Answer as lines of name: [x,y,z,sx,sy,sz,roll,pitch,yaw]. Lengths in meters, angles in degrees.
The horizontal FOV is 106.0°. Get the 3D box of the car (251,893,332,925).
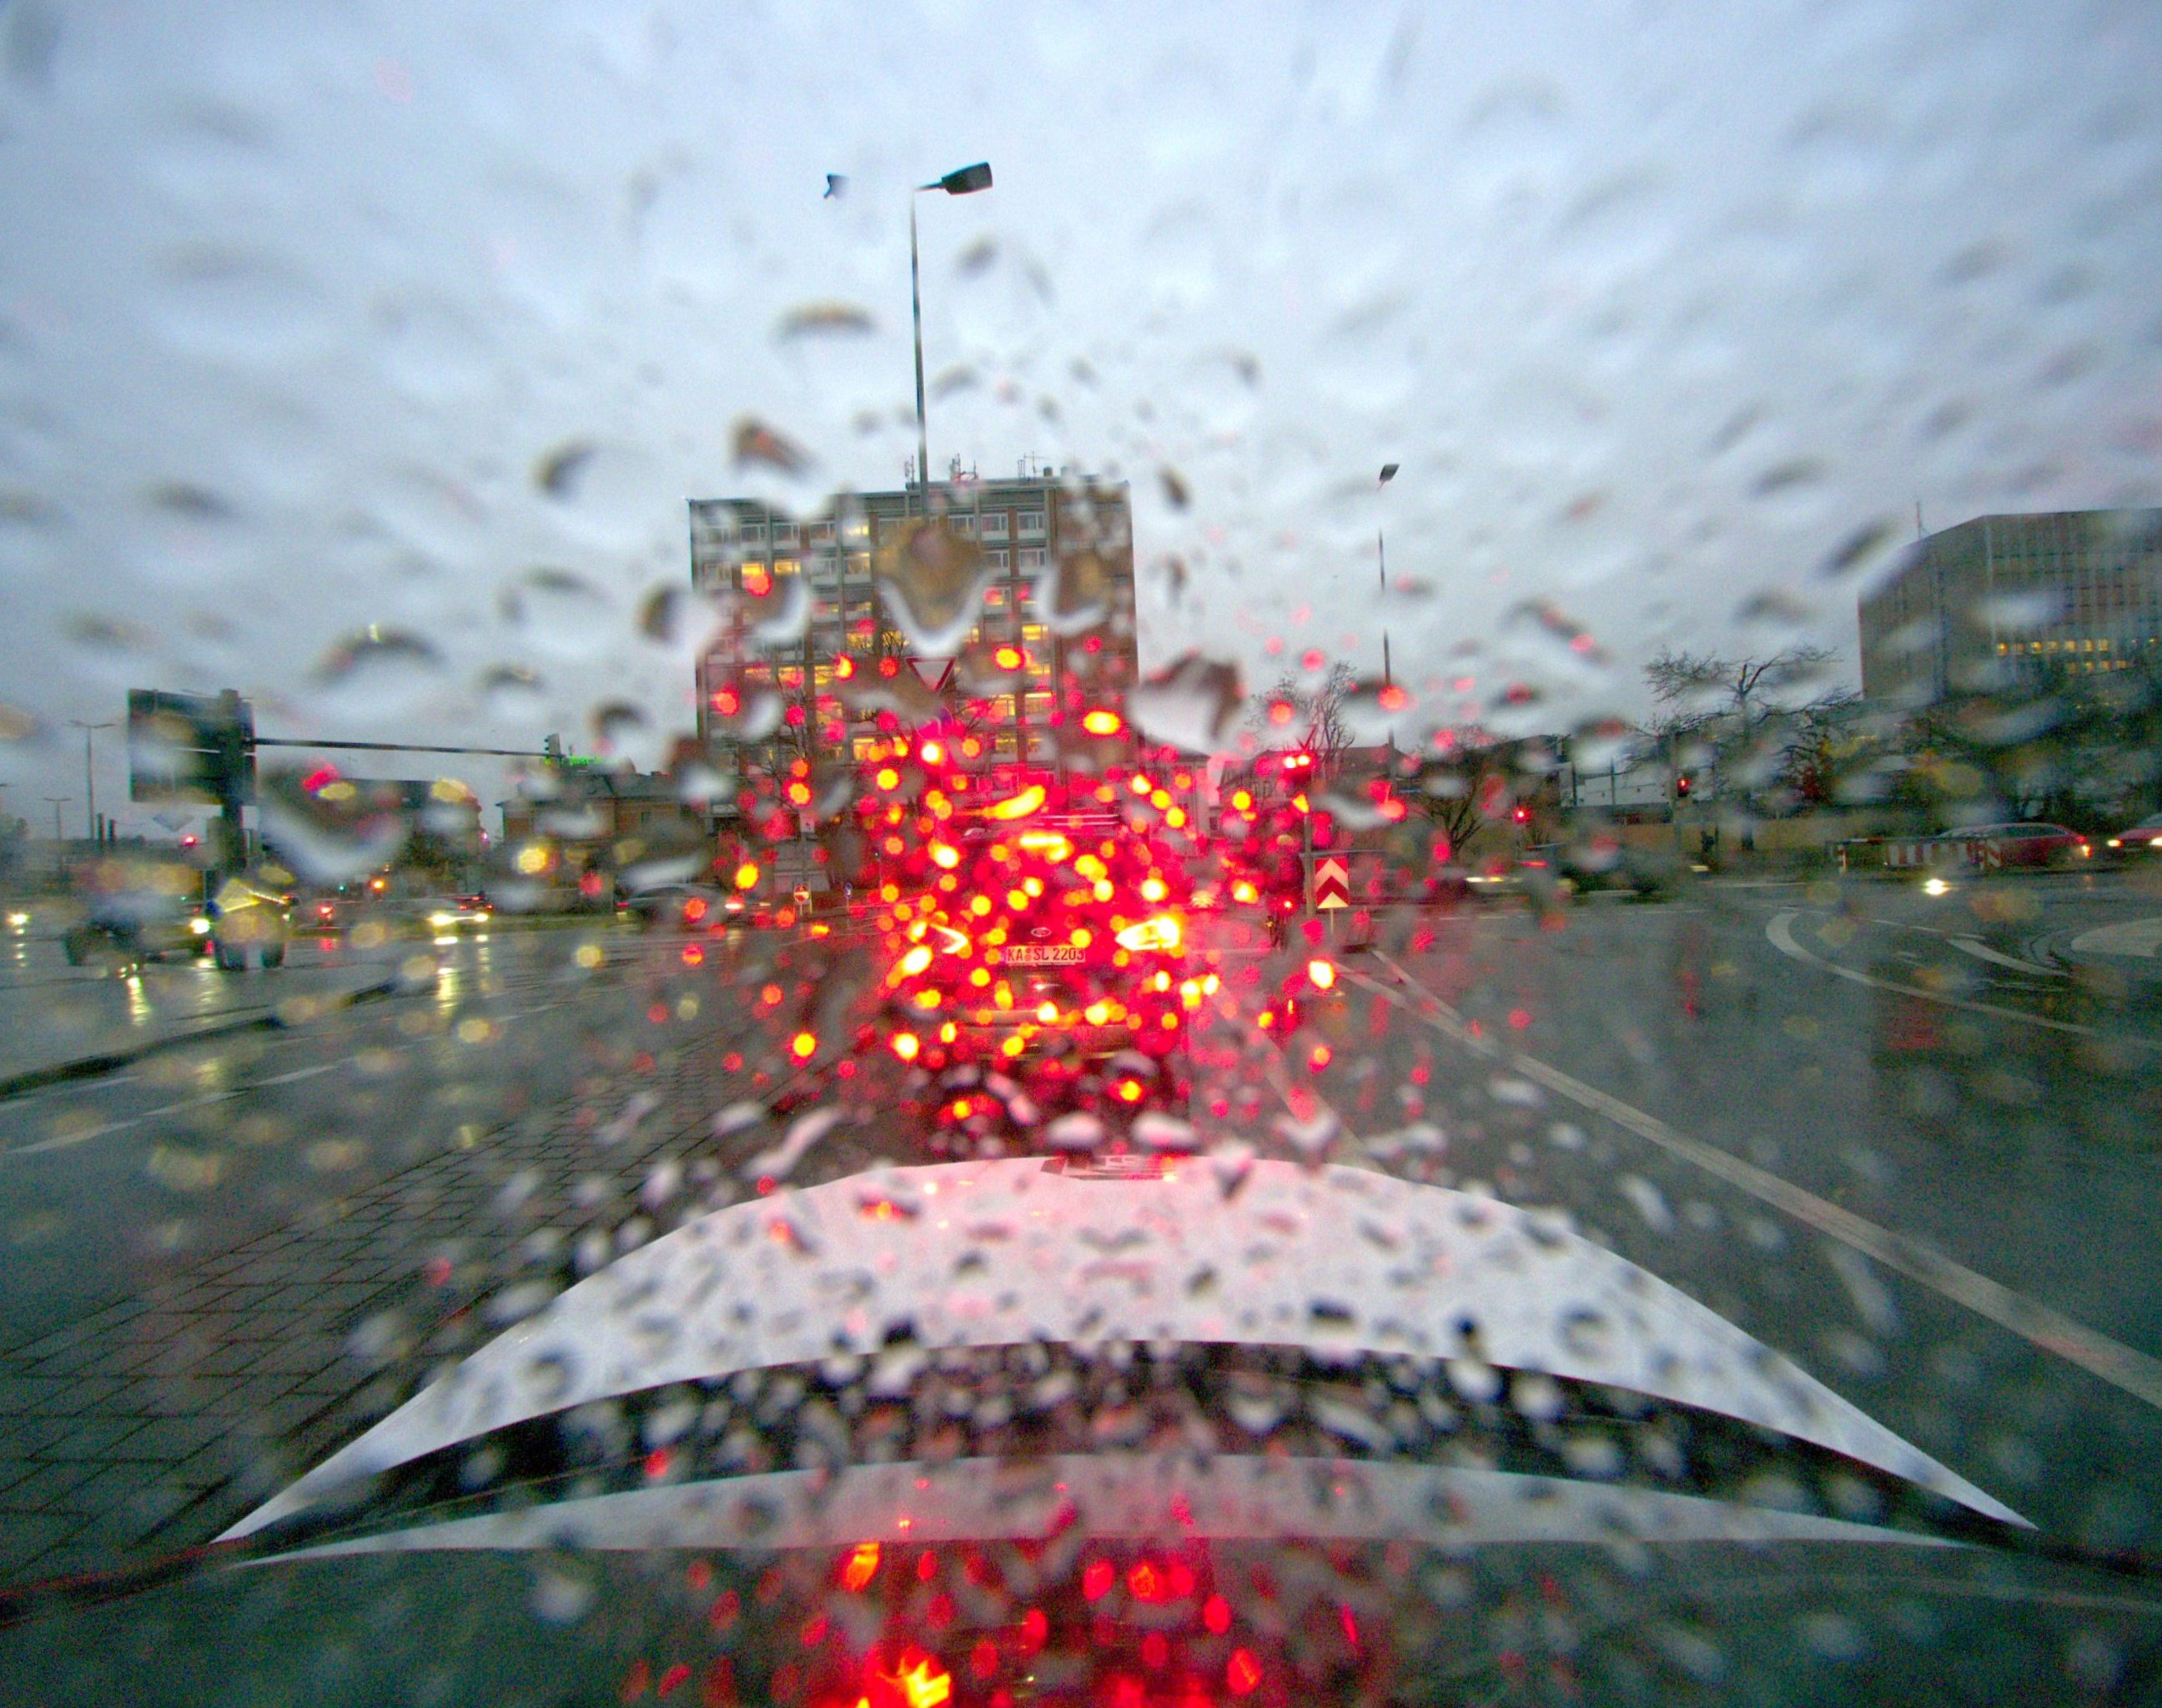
car: [-51.146,3.530,52.782,1.649,1.826,3.609,-1,-1,39]

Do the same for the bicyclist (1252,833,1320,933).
bicyclist: [3.112,0.431,12.457,0.780,1.453,1.134,0,-1,2]

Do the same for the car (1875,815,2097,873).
car: [27.514,-0.265,24.899,4.390,1.477,1.814,-3,-1,6]

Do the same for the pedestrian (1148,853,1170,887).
pedestrian: [4.333,0.865,45.183,0.990,1.799,0.922,-3,0,11]

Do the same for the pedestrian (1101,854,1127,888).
pedestrian: [1.782,0.904,44.198,1.127,1.720,0.984,-3,0,12]

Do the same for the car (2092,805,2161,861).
car: [39.710,-0.845,28.650,5.295,1.880,2.051,-3,-1,4]

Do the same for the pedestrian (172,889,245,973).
pedestrian: [-19.529,1.707,18.241,0.653,1.755,0.856,-3,0,18]

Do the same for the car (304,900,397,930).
car: [-43.808,3.621,48.928,1.582,1.482,3.840,-1,-1,31]

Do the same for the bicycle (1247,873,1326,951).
bicycle: [3.127,0.849,12.569,0.780,1.075,1.958,0,-1,2]

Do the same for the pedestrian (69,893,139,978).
pedestrian: [-21.444,1.778,17.887,0.741,1.770,0.546,-3,0,-12]

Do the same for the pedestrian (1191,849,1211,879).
pedestrian: [6.349,0.509,43.154,0.920,1.533,1.045,-3,0,6]

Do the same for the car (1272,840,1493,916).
car: [6.843,0.548,18.982,4.547,1.477,1.817,-3,-1,12]

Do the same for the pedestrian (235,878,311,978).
pedestrian: [-17.309,1.552,17.472,0.996,2.021,0.792,-3,0,-39]

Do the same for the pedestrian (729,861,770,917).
pedestrian: [-12.130,1.263,29.850,0.922,1.978,0.962,-3,0,8]

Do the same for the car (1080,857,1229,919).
car: [2.105,0.938,22.875,3.932,1.477,1.816,-3,-1,9]

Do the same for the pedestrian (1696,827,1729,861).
pedestrian: [30.941,-0.474,39.907,0.957,1.603,0.796,-3,0,6]

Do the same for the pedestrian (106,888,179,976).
pedestrian: [-20.759,1.705,18.025,0.733,1.838,0.674,-3,0,-11]

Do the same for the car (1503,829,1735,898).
car: [13.530,0.254,20.775,4.545,1.477,1.818,-3,-1,13]

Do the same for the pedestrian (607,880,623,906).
pedestrian: [-32.531,2.721,56.850,0.634,1.688,0.640,-3,0,18]

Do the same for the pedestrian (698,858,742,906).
pedestrian: [-14.904,1.136,33.639,0.992,1.842,1.146,-3,2,25]

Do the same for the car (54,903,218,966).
car: [-28.216,2.390,24.328,3.954,1.577,1.784,-3,0,19]

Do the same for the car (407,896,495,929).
car: [-33.316,3.054,43.085,3.954,1.568,1.836,-1,-1,20]

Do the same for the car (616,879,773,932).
car: [-12.628,1.678,26.640,4.618,1.477,1.820,-3,-1,18]

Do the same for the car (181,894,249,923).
car: [-52.603,3.301,49.464,3.949,1.568,1.838,-1,-1,28]

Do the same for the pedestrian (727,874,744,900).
pedestrian: [-22.626,2.178,53.272,0.754,1.628,0.560,-3,0,16]

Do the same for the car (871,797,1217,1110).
car: [-0.154,0.589,6.694,1.986,1.789,4.001,0,-1,2]

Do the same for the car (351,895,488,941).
car: [-24.964,2.417,30.750,4.618,1.477,1.820,-3,-1,19]
